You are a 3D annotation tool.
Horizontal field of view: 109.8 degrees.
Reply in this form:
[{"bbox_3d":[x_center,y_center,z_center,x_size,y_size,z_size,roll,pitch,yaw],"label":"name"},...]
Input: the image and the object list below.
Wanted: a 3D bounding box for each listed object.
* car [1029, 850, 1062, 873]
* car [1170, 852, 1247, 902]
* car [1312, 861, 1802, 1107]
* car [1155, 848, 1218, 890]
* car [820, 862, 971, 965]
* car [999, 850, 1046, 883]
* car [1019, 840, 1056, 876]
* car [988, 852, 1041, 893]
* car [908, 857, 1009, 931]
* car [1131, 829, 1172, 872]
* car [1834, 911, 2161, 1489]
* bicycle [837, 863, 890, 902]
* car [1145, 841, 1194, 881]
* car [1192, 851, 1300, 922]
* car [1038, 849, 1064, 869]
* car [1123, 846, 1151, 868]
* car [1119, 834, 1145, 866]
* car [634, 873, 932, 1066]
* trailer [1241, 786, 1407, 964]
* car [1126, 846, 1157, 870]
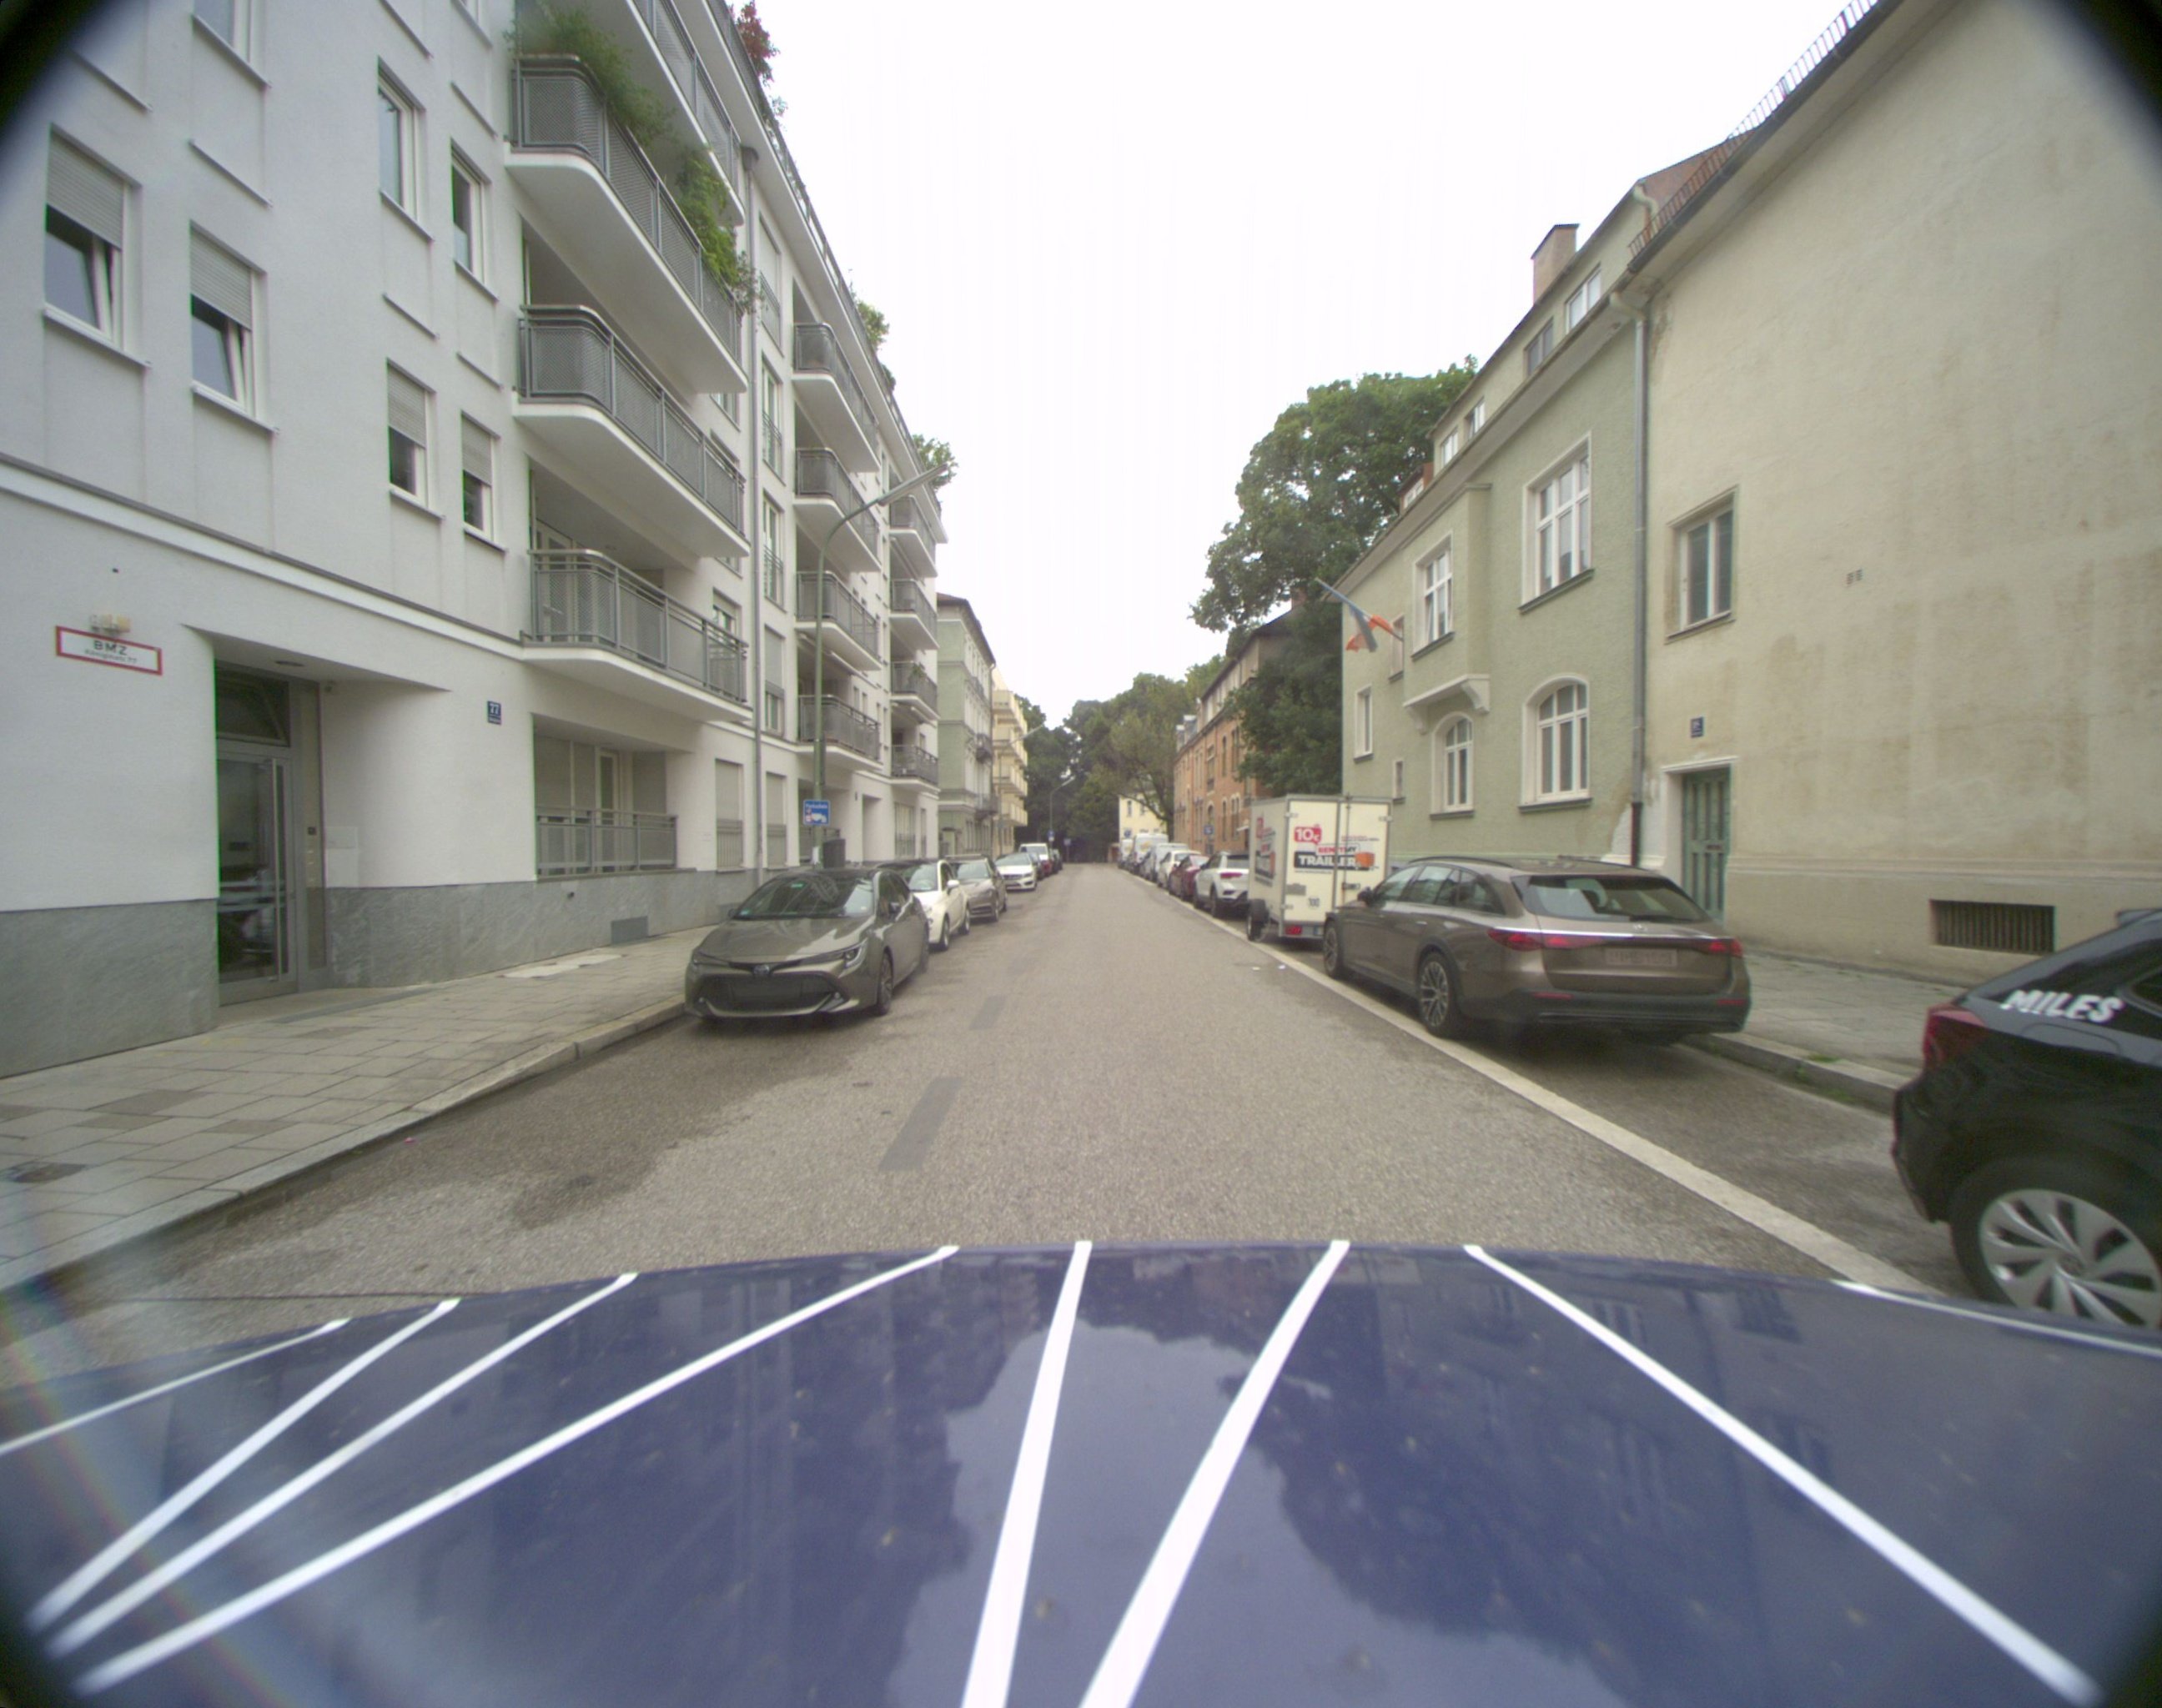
[{"bbox_3d":[-2.325,0.460,50.524,1.871,1.455,4.267,-1,1,1],"label":"car"},{"bbox_3d":[3.830,0.657,23.457,1.817,1.339,3.746,-1,1,1],"label":"car"},{"bbox_3d":[3.767,0.859,7.221,1.817,1.491,4.643,0,1,1],"label":"car"},{"bbox_3d":[3.999,0.520,29.329,1.818,1.444,3.927,-1,1,-1],"label":"car"},{"bbox_3d":[-3.024,0.909,13.097,1.766,1.449,3.417,-1,1,-1],"label":"car"},{"bbox_3d":[-2.722,0.559,36.217,1.766,1.449,3.748,-1,1,3],"label":"car"},{"bbox_3d":[-2.526,0.207,44.885,1.871,2.002,4.267,-1,1,1],"label":"car"},{"bbox_3d":[-2.537,0.661,29.666,1.766,1.449,3.746,-1,1,-1],"label":"car"},{"bbox_3d":[-2.736,0.848,17.767,1.766,1.449,3.746,-1,1,-1],"label":"car"},{"bbox_3d":[4.166,-0.228,45.600,2.104,2.418,4.549,-1,1,2],"label":"car"},{"bbox_3d":[3.696,0.944,0.778,1.697,1.417,4.068,0,1,-3],"label":"car"},{"bbox_3d":[-6.320,0.819,22.196,0.580,1.008,1.954,-2,1,12],"label":"bicycle"},{"bbox_3d":[4.052,0.274,35.233,1.818,1.724,3.649,-1,1,0],"label":"car"},{"bbox_3d":[3.846,0.692,18.301,1.768,1.505,3.841,0,1,0],"label":"car"},{"bbox_3d":[-2.367,0.372,60.670,1.871,1.455,4.267,-1,1,1],"label":"car"},{"bbox_3d":[4.103,0.179,56.212,1.817,1.526,3.751,-1,1,1],"label":"car"},{"bbox_3d":[4.114,-0.334,62.069,1.881,2.539,4.369,-1,1,1],"label":"car"},{"bbox_3d":[-2.839,0.991,8.334,1.784,1.386,4.244,-1,1,-4],"label":"car"},{"bbox_3d":[3.913,0.281,12.839,1.817,2.521,3.389,3,1,5],"label":"trailer"},{"bbox_3d":[4.043,0.228,51.306,1.817,1.526,3.747,-1,1,1],"label":"car"}]
